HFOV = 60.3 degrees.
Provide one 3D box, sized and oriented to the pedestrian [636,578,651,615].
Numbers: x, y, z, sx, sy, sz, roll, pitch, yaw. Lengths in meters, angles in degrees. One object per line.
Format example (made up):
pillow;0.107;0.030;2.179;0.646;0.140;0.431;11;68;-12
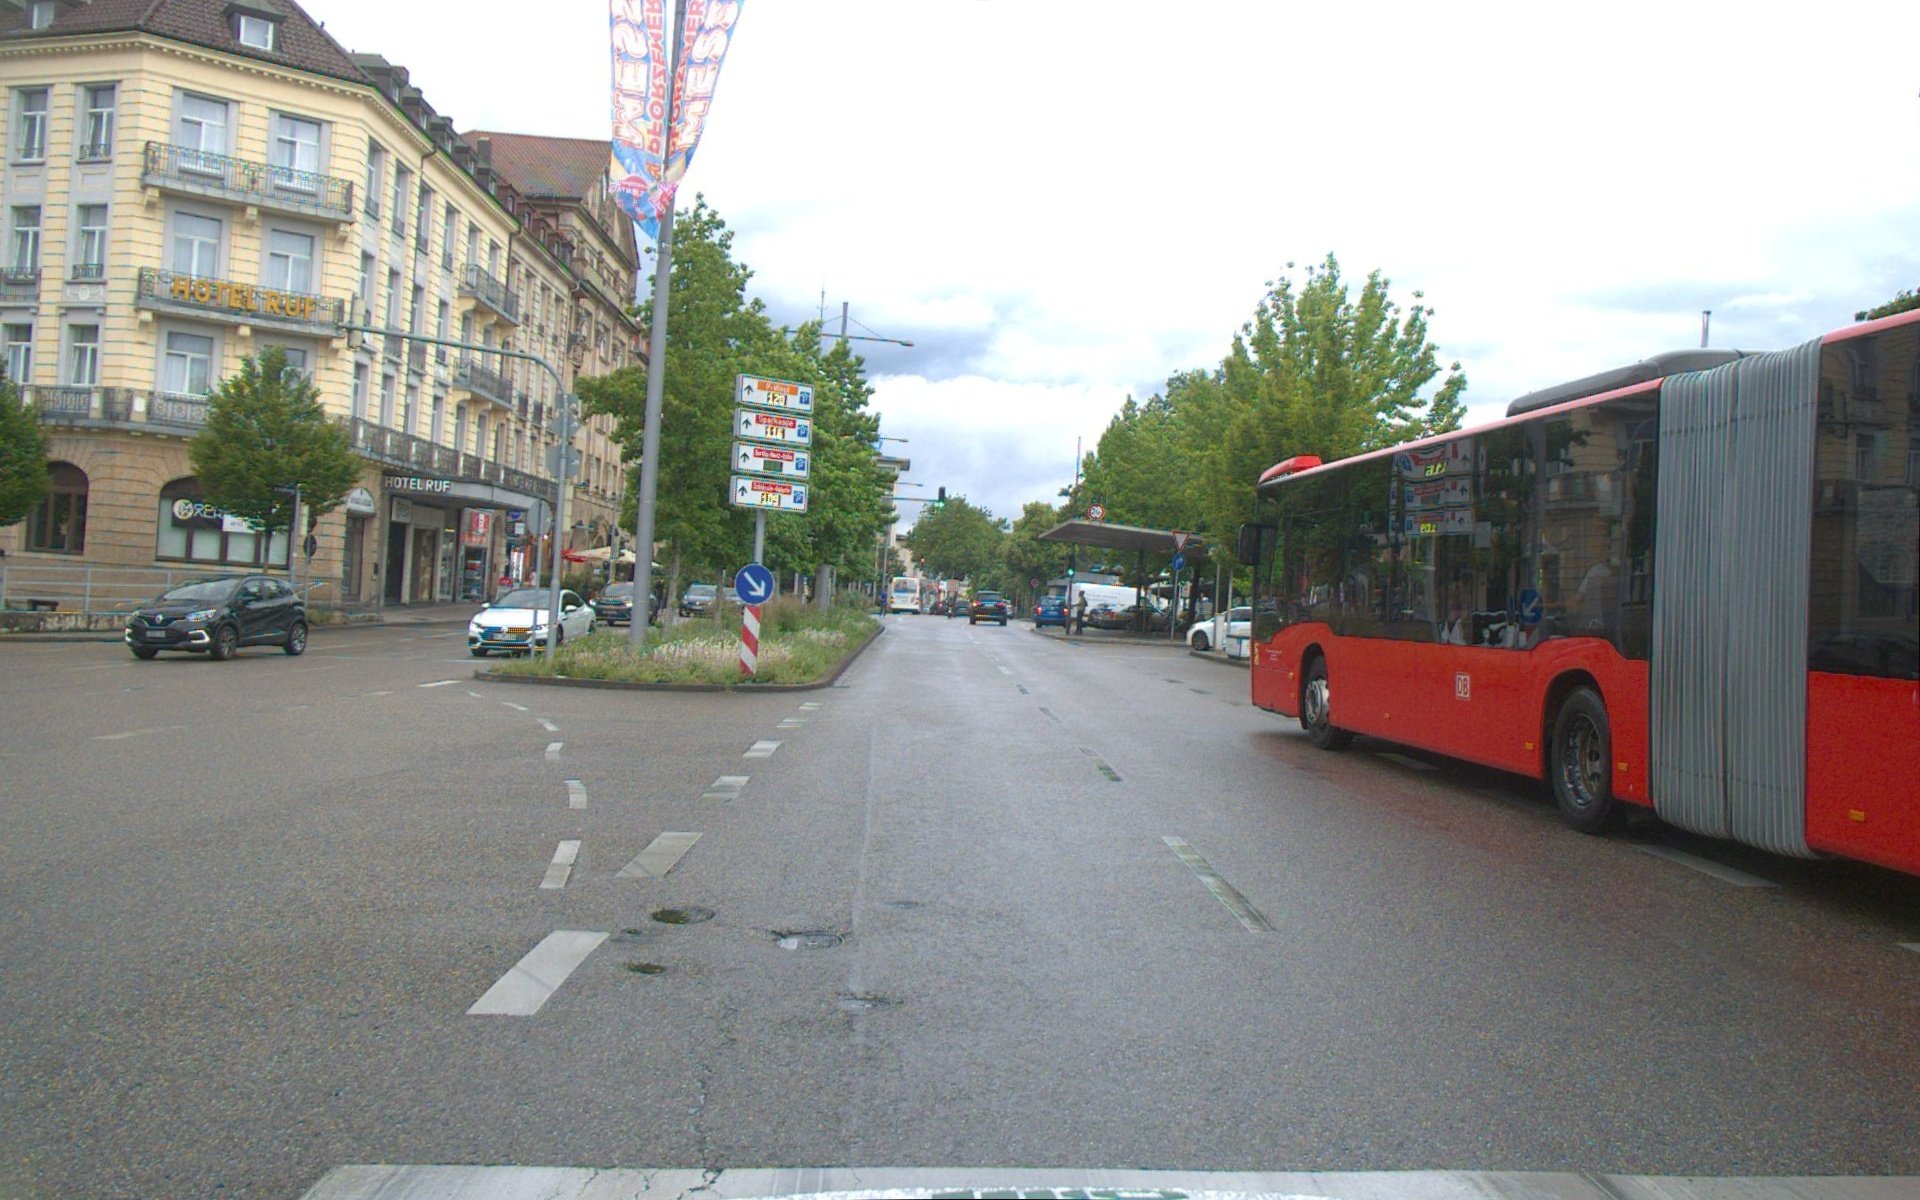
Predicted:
pedestrian;-15.439;-0.168;80.737;0.563;1.762;0.609;2;0;-1

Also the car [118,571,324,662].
car;-13.997;0.287;31.594;1.734;1.557;4.081;2;0;6

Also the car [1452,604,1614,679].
car;13.054;0.890;37.987;1.875;1.551;4.740;1;0;-3

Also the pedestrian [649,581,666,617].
pedestrian;-14.779;-0.046;80.811;0.661;1.731;0.633;2;0;-1

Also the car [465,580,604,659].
car;-9.198;0.362;36.159;1.689;1.405;4.862;1;3;1

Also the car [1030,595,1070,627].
car;4.628;0.551;85.447;1.779;1.557;3.999;1;0;-1

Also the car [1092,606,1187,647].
car;8.949;1.312;82.382;4.273;1.890;1.988;2;0;-21

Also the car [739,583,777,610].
car;-12.301;-0.252;100.965;1.718;1.392;4.062;2;3;2

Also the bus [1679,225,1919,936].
bus;5.820;-0.060;5.686;2.689;3.229;8.114;1;0;-4

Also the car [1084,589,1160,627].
car;9.483;0.463;96.772;3.929;2.049;1.988;2;0;-21

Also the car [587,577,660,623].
car;-11.625;-0.014;57.290;1.597;1.502;4.027;1;0;1

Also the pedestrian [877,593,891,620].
pedestrian;-4.686;0.397;101.505;0.742;1.668;0.560;2;0;6

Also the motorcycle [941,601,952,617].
motorcycle;-0.945;0.639;118.801;0.750;1.095;2.175;2;0;-1

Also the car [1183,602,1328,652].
car;9.097;0.818;51.178;1.764;1.409;4.303;1;0;-41

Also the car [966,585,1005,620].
car;1.377;0.127;90.436;1.953;1.837;4.689;1;0;-1

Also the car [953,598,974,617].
car;0.282;0.631;135.389;1.673;1.473;3.999;1;0;-1

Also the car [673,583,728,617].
car;-11.655;0.003;74.547;1.718;1.466;4.060;2;0;2

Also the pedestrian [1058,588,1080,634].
pedestrian;4.395;0.451;66.609;0.705;1.822;0.663;2;0;-12

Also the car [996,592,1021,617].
car;3.886;0.351;132.711;1.752;1.892;3.999;2;0;-1

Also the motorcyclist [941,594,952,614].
motorcyclist;-0.949;0.280;118.877;0.749;1.355;0.866;2;0;-1

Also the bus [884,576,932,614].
bus;-4.728;-0.458;154.415;3.683;3.265;15.527;1;0;1

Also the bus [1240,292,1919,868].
bus;5.100;-0.105;14.507;2.689;3.229;10.184;1;0;-5

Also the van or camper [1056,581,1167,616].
van or camper;9.463;-0.075;102.988;6.675;2.049;2.364;1;-1;-27
